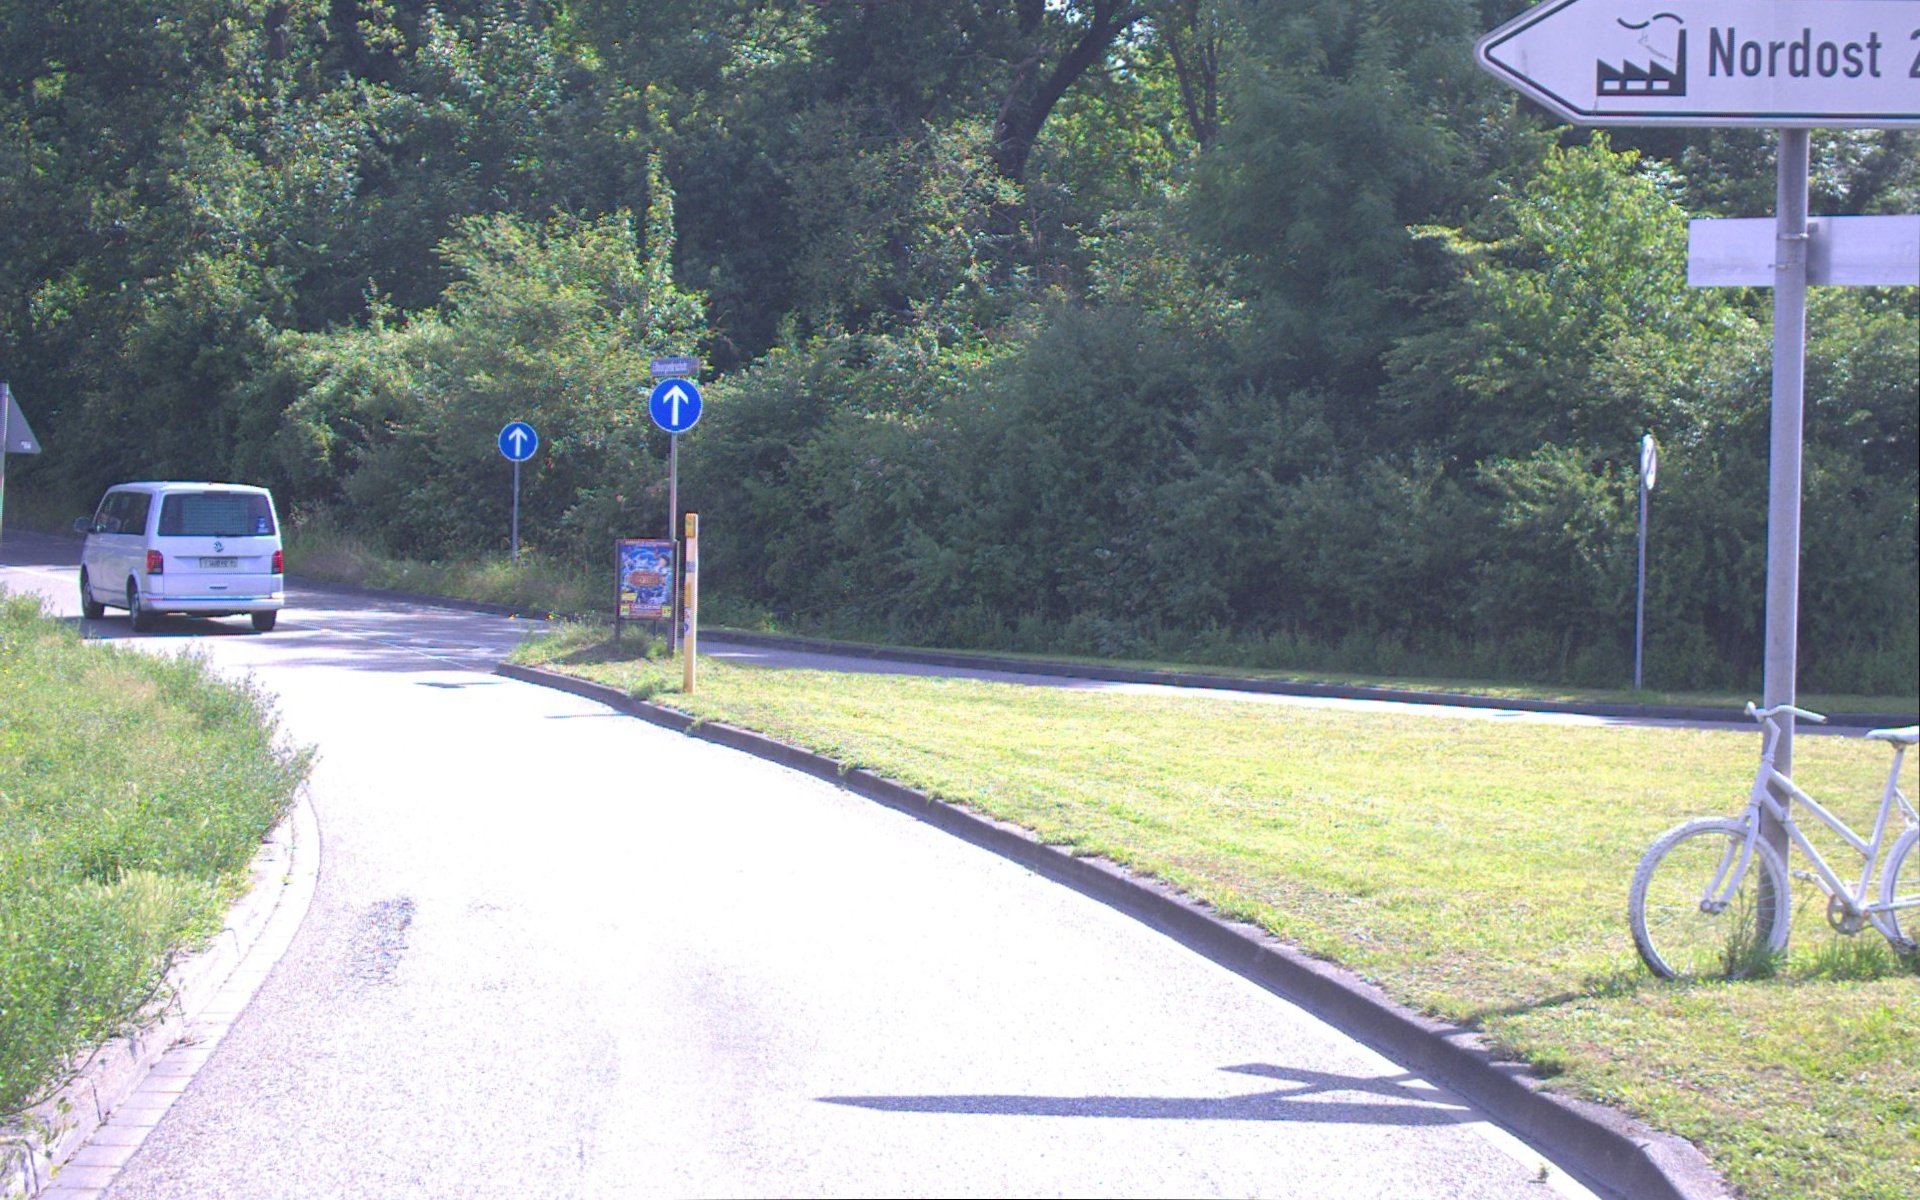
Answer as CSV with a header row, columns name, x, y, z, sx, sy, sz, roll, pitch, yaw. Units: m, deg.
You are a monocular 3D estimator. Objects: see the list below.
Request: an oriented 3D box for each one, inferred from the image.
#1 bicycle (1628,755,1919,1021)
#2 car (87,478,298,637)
name,x,y,z,sx,sy,sz,roll,pitch,yaw
bicycle,3.224,0.996,12.069,1.783,0.886,0.271,1,1,-16
car,-10.343,-0.595,46.102,2.038,2.007,4.001,1,1,-23
